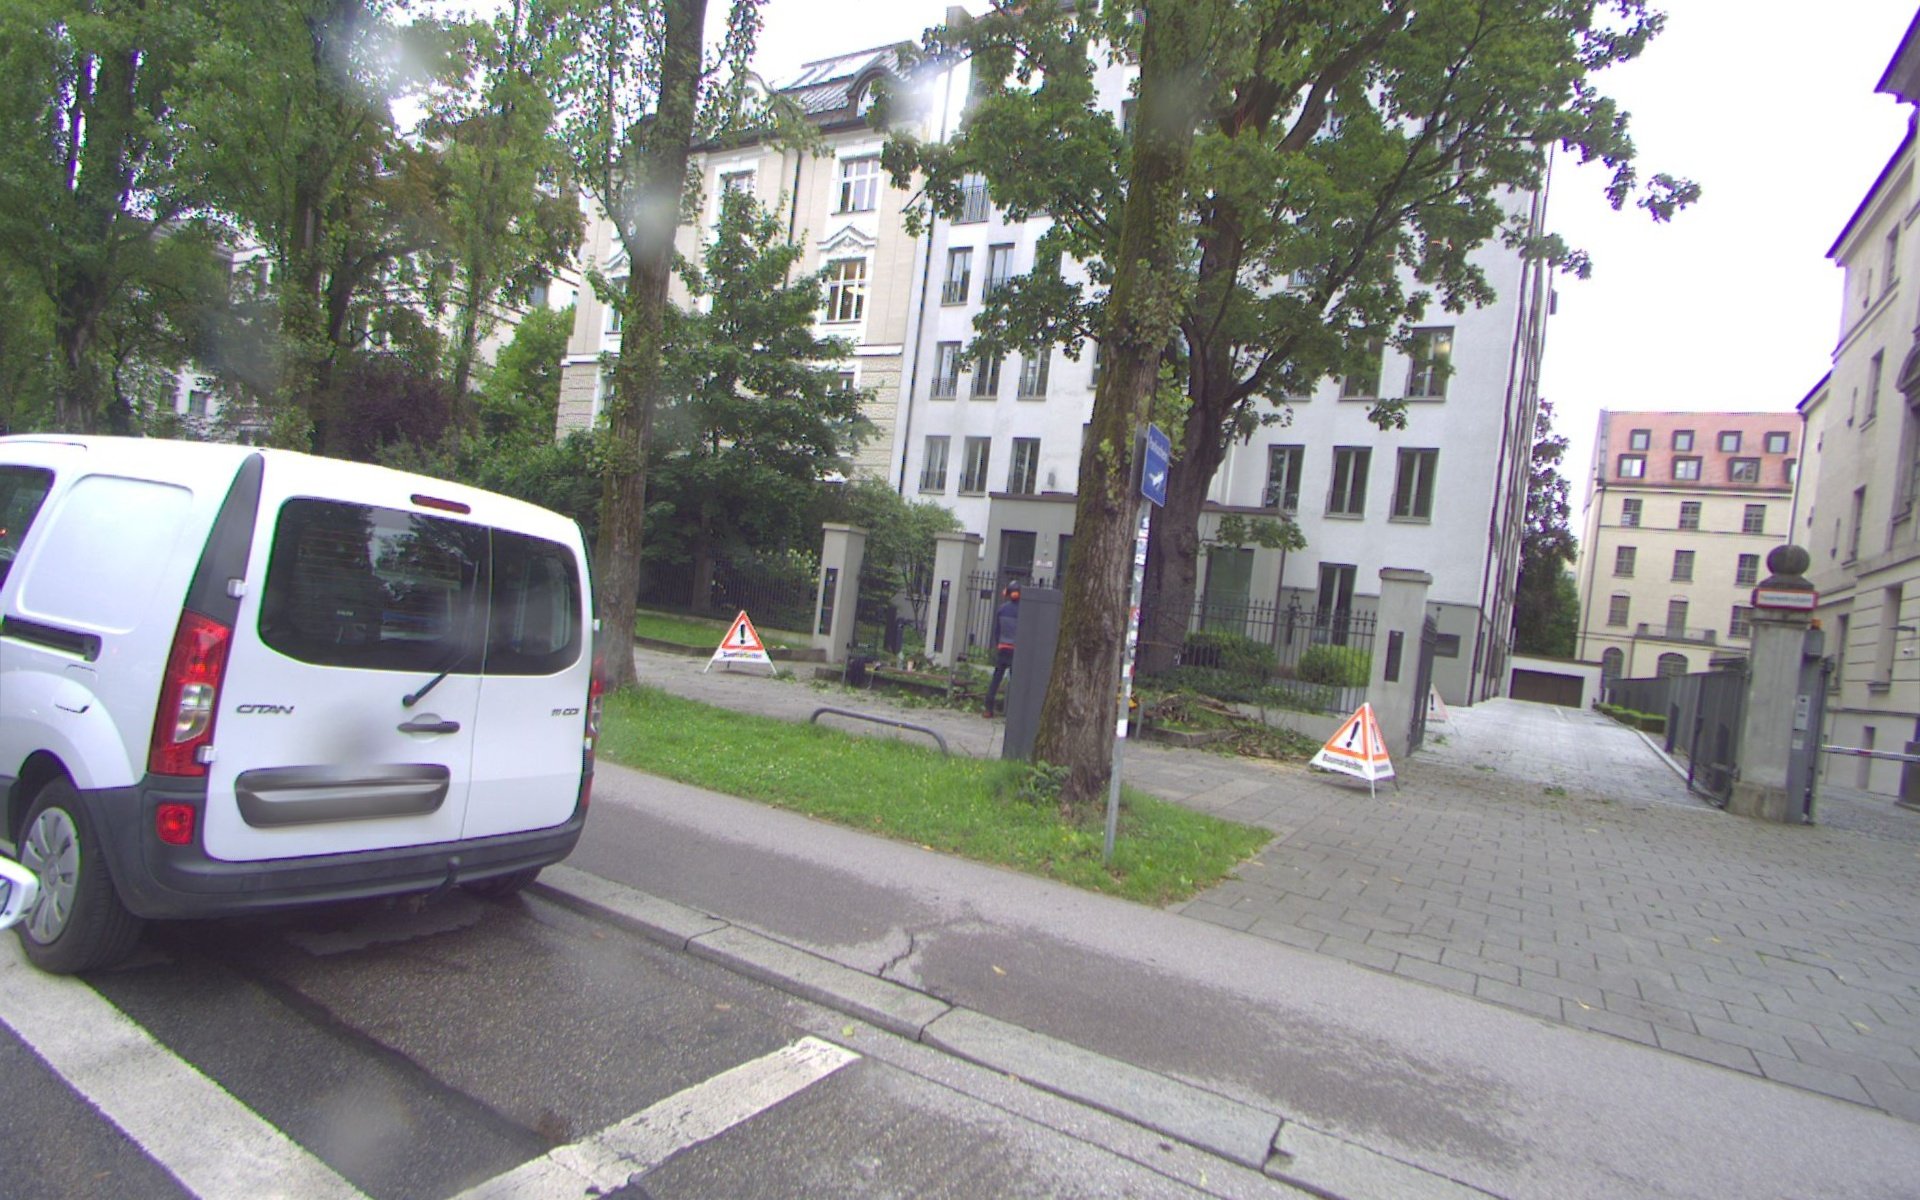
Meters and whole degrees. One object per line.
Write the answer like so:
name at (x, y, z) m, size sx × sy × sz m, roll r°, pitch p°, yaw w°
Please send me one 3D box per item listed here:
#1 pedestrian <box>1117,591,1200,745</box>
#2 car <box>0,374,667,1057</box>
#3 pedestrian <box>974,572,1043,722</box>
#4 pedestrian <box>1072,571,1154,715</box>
pedestrian at (2.540, 0.848, 12.801) m, size 0.805 × 1.804 × 0.802 m, roll 7°, pitch 1°, yaw 13°
car at (-3.595, 0.169, 4.616) m, size 4.097 × 1.905 × 1.854 m, roll 7°, pitch 0°, yaw 30°
pedestrian at (0.650, 0.614, 13.278) m, size 0.626 × 1.886 × 0.488 m, roll 7°, pitch 1°, yaw 13°
pedestrian at (2.130, 0.584, 13.997) m, size 0.814 × 1.823 × 0.904 m, roll 9°, pitch 2°, yaw 10°
